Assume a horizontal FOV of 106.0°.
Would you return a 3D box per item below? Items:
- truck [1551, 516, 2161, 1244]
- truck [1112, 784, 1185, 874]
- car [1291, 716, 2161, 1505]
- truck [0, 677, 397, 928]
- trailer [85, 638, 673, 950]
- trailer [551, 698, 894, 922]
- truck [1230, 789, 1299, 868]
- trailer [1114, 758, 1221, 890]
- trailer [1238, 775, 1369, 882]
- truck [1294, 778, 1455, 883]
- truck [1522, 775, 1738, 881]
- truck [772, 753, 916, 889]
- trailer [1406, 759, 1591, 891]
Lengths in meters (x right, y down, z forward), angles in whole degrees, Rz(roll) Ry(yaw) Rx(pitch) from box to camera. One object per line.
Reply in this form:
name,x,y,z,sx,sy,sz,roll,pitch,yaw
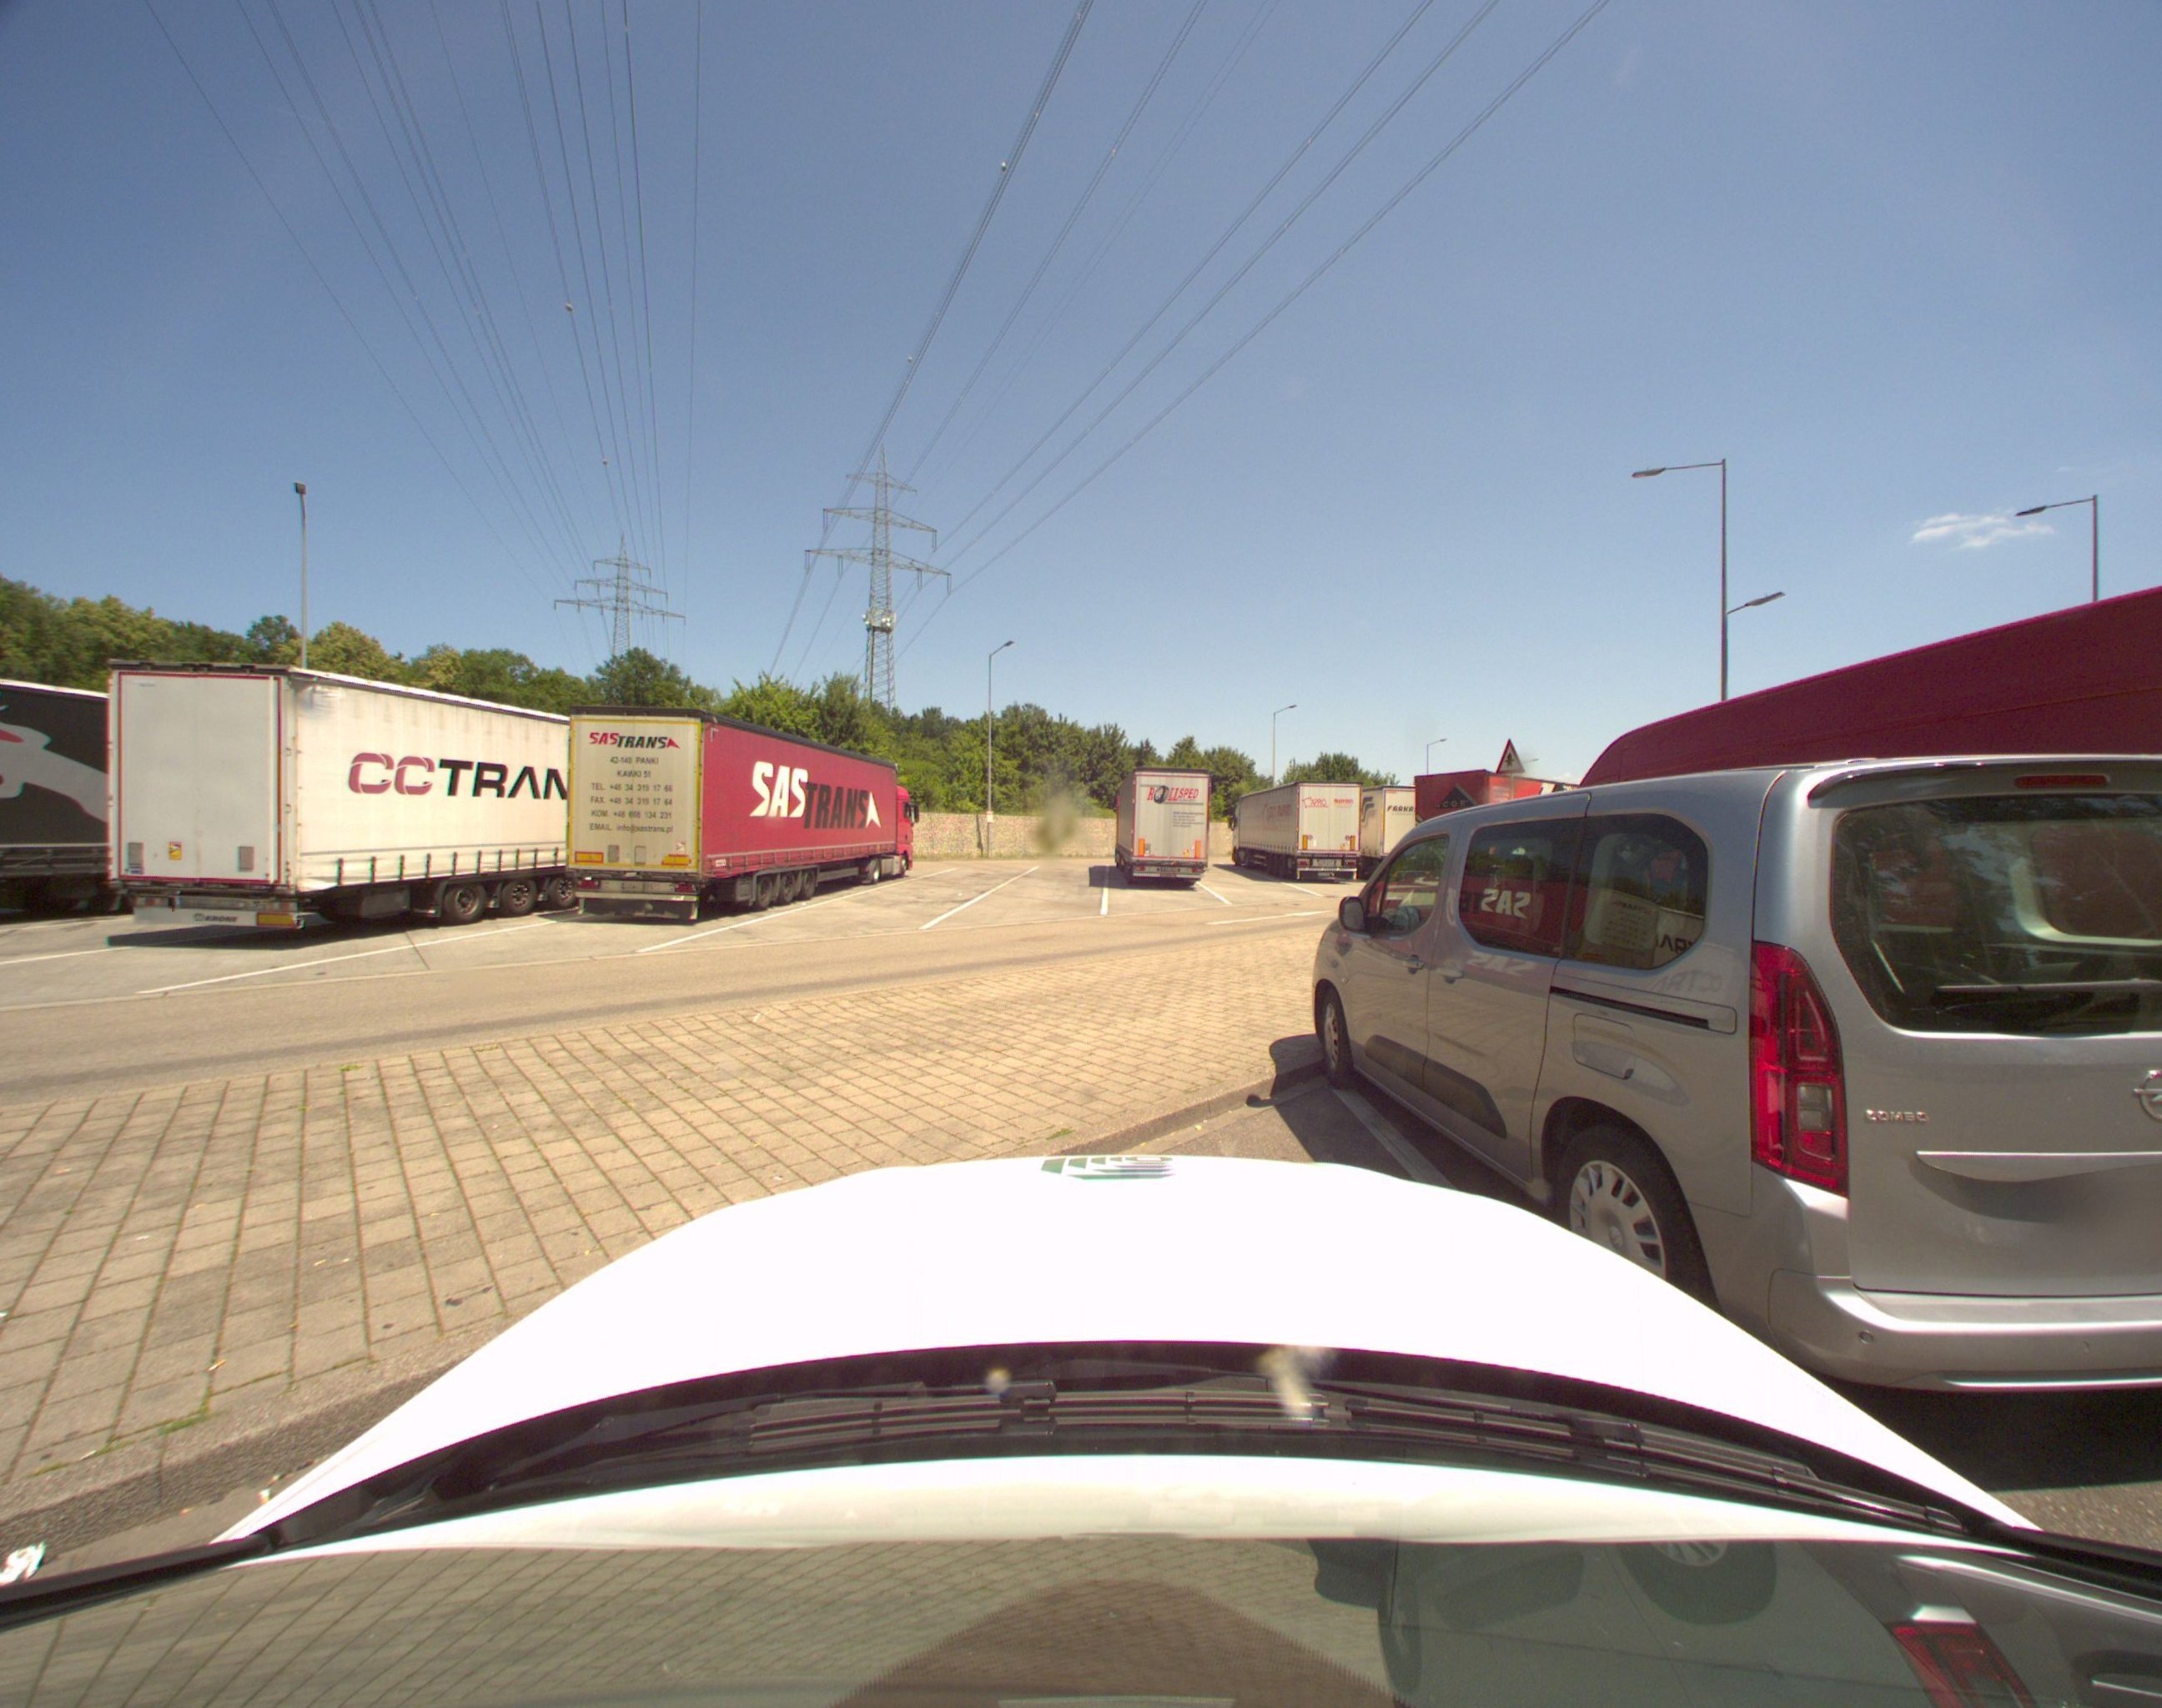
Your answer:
truck,5.097,0.055,4.867,1.983,2.623,5.312,0,1,6
truck,3.128,-1.217,39.506,3.016,3.928,6.848,1,2,1
car,2.468,0.534,3.846,1.821,1.753,3.998,-1,1,-2
truck,-18.513,-0.856,15.962,2.627,4.018,8.640,-1,1,2
trailer,-12.101,-0.894,16.068,2.734,4.263,9.740,0,1,3
trailer,-8.048,-0.915,21.486,2.739,4.057,13.292,-1,1,2
truck,10.128,-1.388,45.407,2.747,4.124,5.286,-1,1,2
trailer,3.045,-1.183,32.733,3.059,4.227,12.811,1,2,1
trailer,9.940,-1.098,38.404,2.865,4.124,13.577,0,1,2
truck,13.575,-1.051,39.648,2.894,4.124,14.533,2,1,2
truck,23.790,-1.108,35.051,10.622,4.127,2.672,-1,1,-25
truck,-7.839,-1.049,28.011,2.733,4.081,6.832,-1,1,1
trailer,15.718,-1.024,30.267,8.728,4.257,2.810,-1,1,-39
